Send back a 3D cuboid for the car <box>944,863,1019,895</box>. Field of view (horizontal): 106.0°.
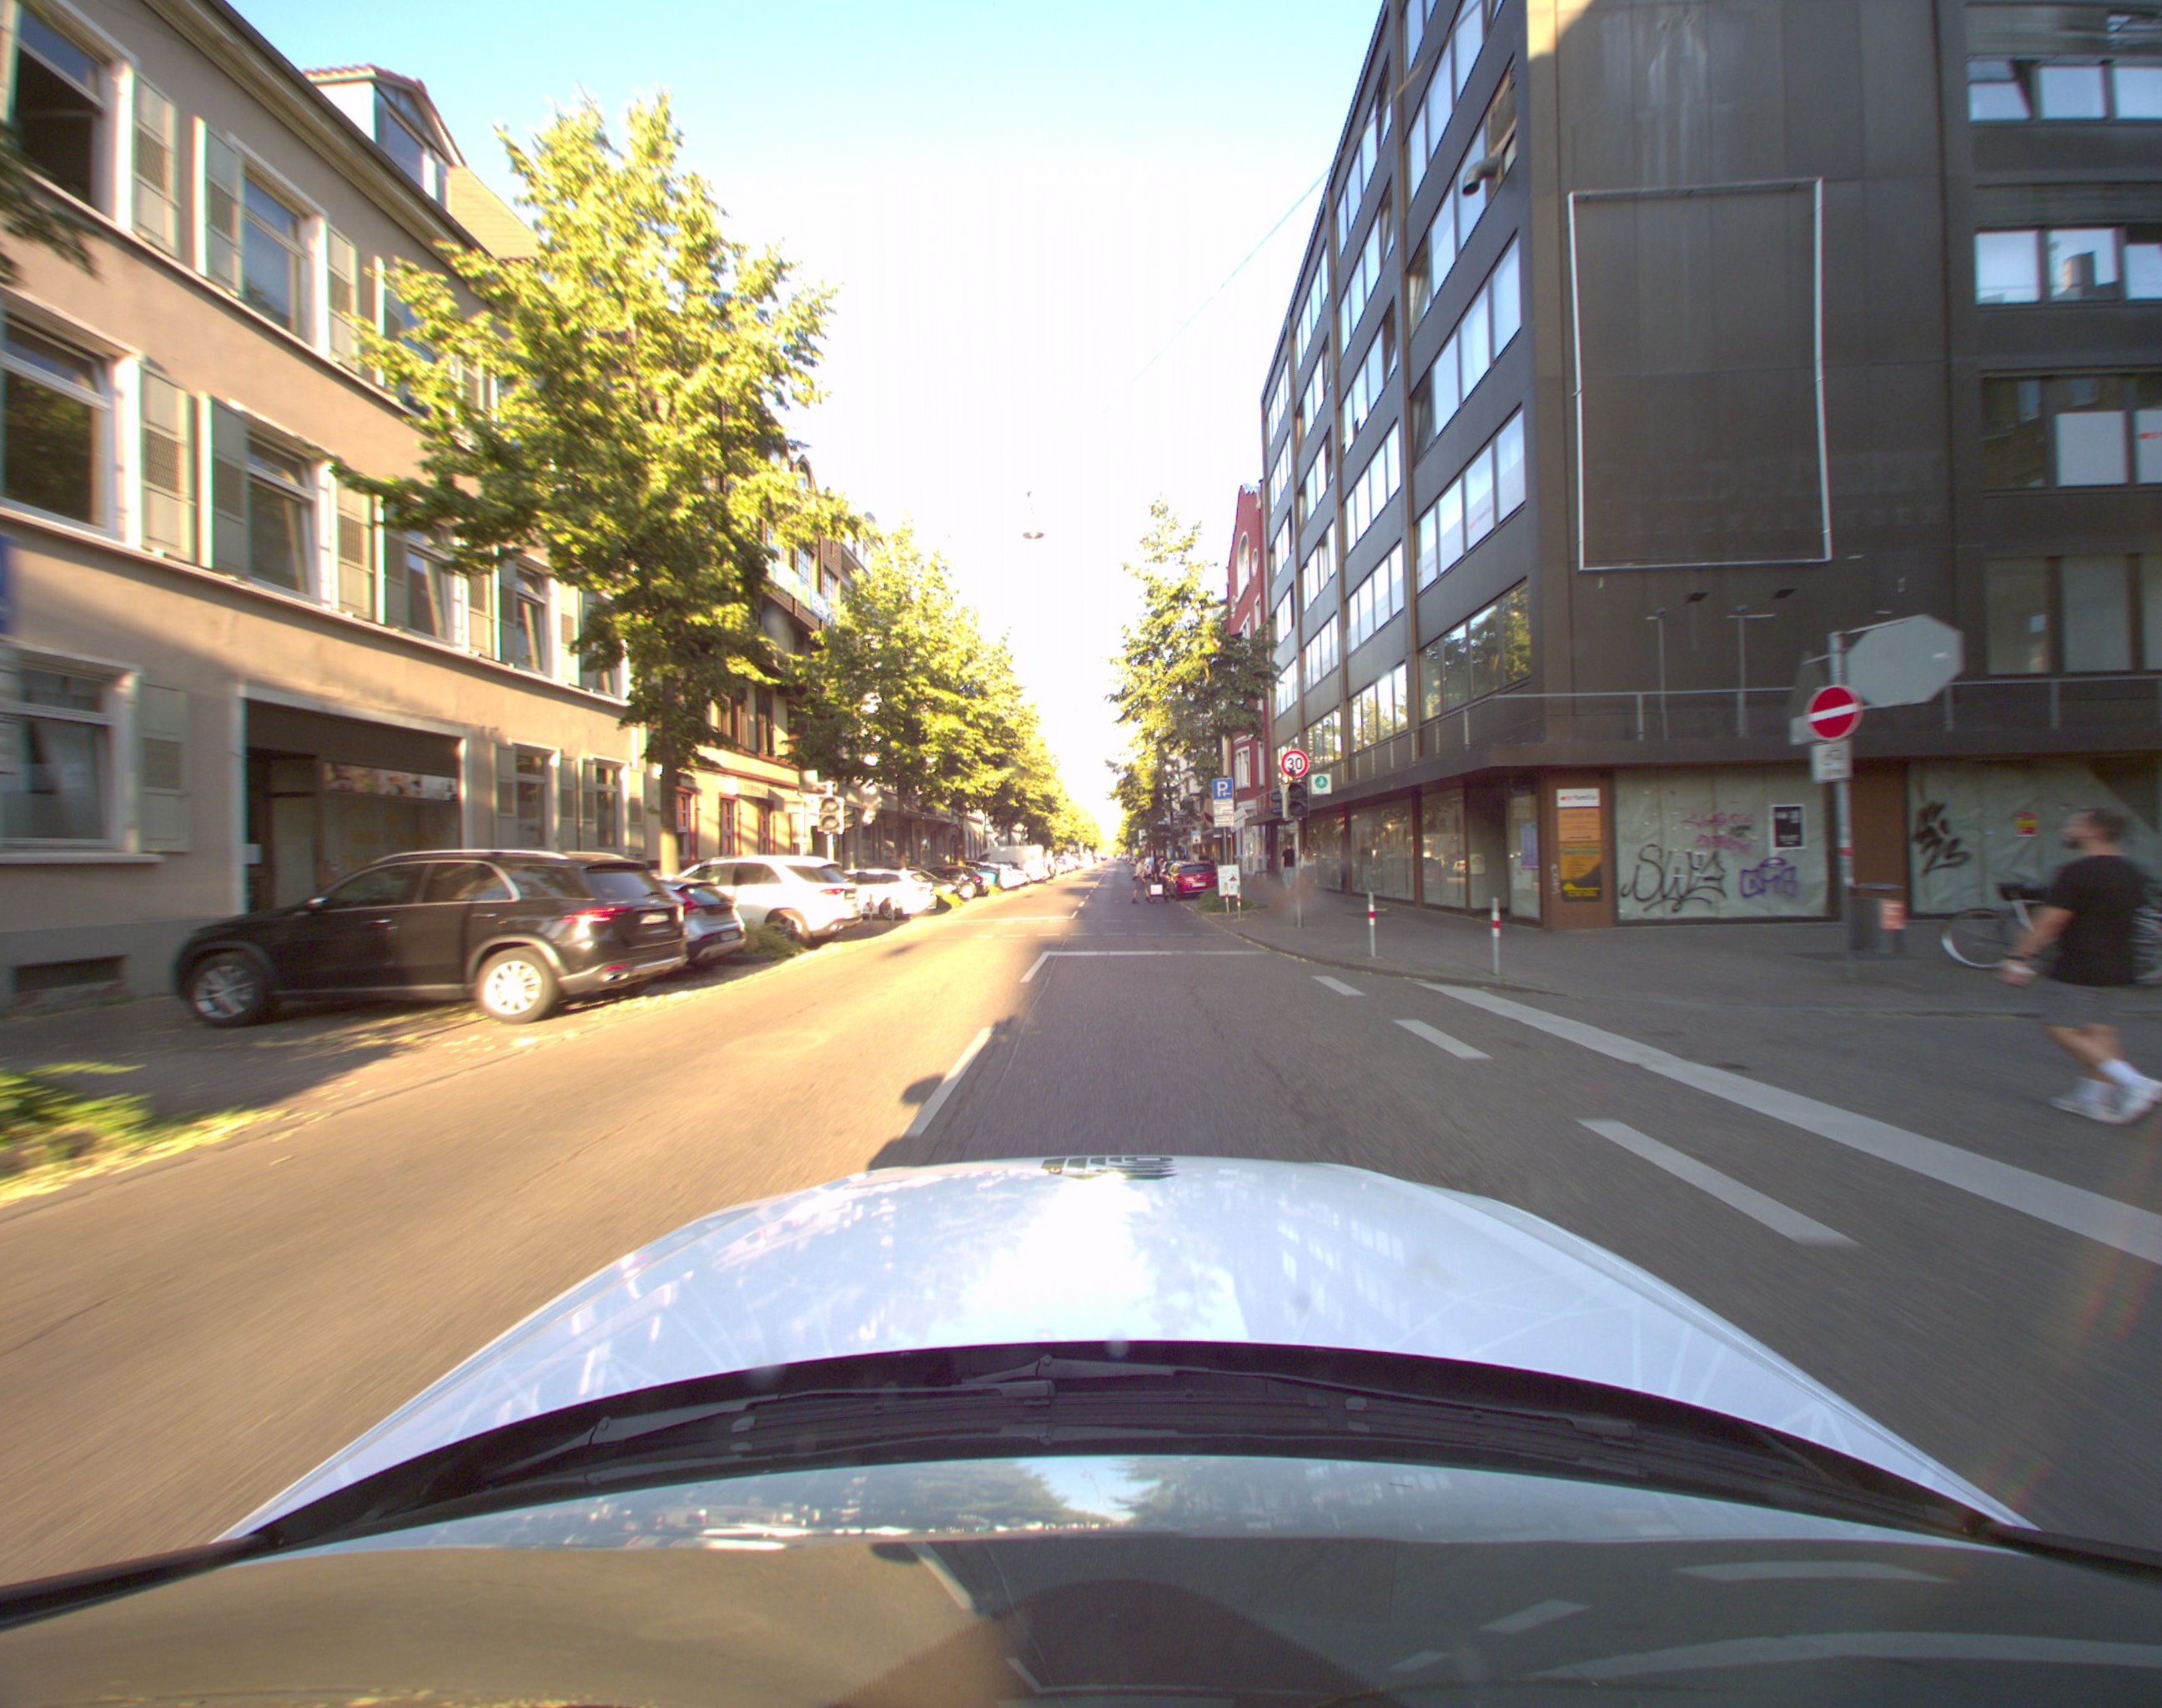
[{"bbox_3d":[-5.325,1.318,43.864,3.725,1.596,2.001,-1,-1,1],"label":"car"}]

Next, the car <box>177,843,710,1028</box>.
[{"bbox_3d":[-6.901,0.834,9.222,4.432,1.835,2.034,0,-1,1],"label":"car"}]

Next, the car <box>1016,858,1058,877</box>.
[{"bbox_3d":[-4.124,1.237,76.470,3.725,1.708,2.001,-1,-1,1],"label":"car"}]

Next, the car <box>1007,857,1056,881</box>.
[{"bbox_3d":[-4.011,1.211,65.932,3.725,1.859,2.001,-1,-1,1],"label":"car"}]

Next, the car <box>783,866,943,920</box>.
[{"bbox_3d":[-6.353,1.125,24.111,4.159,1.507,2.001,0,-1,1],"label":"car"}]

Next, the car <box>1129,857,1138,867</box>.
[{"bbox_3d":[8.875,1.382,137.003,1.305,1.600,2.660,-1,-1,0],"label":"car"}]

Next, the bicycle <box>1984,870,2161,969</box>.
[{"bbox_3d":[11.817,0.729,9.434,0.416,1.037,1.761,-3,1,-24],"label":"bicycle"}]

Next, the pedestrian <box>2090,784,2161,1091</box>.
[{"bbox_3d":[6.569,0.479,4.390,0.752,1.767,1.223,0,0,2],"label":"pedestrian"}]

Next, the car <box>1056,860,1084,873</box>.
[{"bbox_3d":[-1.485,1.754,112.109,3.725,1.708,2.001,0,0,1],"label":"car"}]

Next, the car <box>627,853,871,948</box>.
[{"bbox_3d":[-6.345,0.854,15.878,3.975,1.708,1.834,0,0,1],"label":"car"}]

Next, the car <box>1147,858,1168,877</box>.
[{"bbox_3d":[5.363,0.983,57.532,1.202,1.300,2.660,-1,-1,0],"label":"car"}]

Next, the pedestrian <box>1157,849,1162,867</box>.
[{"bbox_3d":[8.625,0.410,89.563,0.447,2.013,0.424,0,0,1],"label":"pedestrian"}]

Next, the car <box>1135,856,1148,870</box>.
[{"bbox_3d":[7.136,1.082,95.730,1.305,1.600,2.660,-1,-1,0],"label":"car"}]

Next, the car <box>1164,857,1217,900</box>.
[{"bbox_3d":[4.302,0.951,32.307,1.571,1.543,3.396,-3,-1,0],"label":"car"}]

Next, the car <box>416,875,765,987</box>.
[{"bbox_3d":[-7.040,1.078,12.000,4.017,1.443,1.832,0,0,1],"label":"car"}]

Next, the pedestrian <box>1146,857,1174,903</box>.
[{"bbox_3d":[2.951,0.955,30.601,0.727,1.683,0.749,-1,0,-38],"label":"pedestrian"}]

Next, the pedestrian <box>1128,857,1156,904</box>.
[{"bbox_3d":[2.243,0.963,29.784,0.720,1.673,0.702,-1,1,-38],"label":"pedestrian"}]

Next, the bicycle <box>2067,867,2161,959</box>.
[{"bbox_3d":[13.262,0.720,9.842,0.415,1.094,1.680,0,0,-18],"label":"bicycle"}]

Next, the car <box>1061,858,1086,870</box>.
[{"bbox_3d":[-1.092,1.485,121.989,3.725,1.708,2.001,0,0,1],"label":"car"}]

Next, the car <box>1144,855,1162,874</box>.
[{"bbox_3d":[6.339,0.919,71.666,1.305,1.600,2.660,-1,-1,0],"label":"car"}]

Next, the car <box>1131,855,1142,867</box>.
[{"bbox_3d":[7.820,0.967,114.109,1.305,1.600,2.660,-1,-1,0],"label":"car"}]

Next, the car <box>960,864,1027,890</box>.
[{"bbox_3d":[-5.229,1.389,49.058,3.725,1.450,2.001,-1,-1,1],"label":"car"}]

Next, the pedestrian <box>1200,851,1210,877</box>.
[{"bbox_3d":[7.895,0.637,51.840,0.531,1.622,0.534,0,0,3],"label":"pedestrian"}]

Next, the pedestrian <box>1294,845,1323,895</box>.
[{"bbox_3d":[8.010,0.553,28.694,0.762,1.689,0.786,-2,0,0],"label":"pedestrian"}]

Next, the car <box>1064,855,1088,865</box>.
[{"bbox_3d":[-0.745,0.959,130.661,3.725,1.708,2.001,0,0,1],"label":"car"}]

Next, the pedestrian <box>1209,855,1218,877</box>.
[{"bbox_3d":[8.516,0.760,52.308,0.531,1.360,0.534,0,0,3],"label":"pedestrian"}]

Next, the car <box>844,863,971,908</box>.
[{"bbox_3d":[-6.641,1.183,31.489,4.410,1.599,2.001,-1,-1,1],"label":"car"}]

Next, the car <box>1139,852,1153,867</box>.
[{"bbox_3d":[7.226,0.628,90.554,1.305,1.600,2.660,-1,-1,0],"label":"car"}]

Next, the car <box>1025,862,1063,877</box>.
[{"bbox_3d":[-3.796,1.590,83.535,3.725,1.450,2.001,-1,-1,1],"label":"car"}]

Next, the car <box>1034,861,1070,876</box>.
[{"bbox_3d":[-3.170,1.597,88.231,3.725,1.493,2.001,-1,-1,1],"label":"car"}]

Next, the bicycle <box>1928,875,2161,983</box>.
[{"bbox_3d":[10.652,0.780,9.068,0.415,1.030,1.681,-1,0,-15],"label":"bicycle"}]

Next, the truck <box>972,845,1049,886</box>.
[{"bbox_3d":[-4.763,0.794,55.459,4.922,2.615,2.001,-1,-1,1],"label":"truck"}]

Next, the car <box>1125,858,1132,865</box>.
[{"bbox_3d":[11.334,1.758,194.229,1.571,1.579,3.114,0,0,0],"label":"car"}]

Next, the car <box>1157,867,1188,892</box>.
[{"bbox_3d":[4.941,1.345,44.078,1.300,1.293,3.013,-1,-1,0],"label":"car"}]

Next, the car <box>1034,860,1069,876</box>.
[{"bbox_3d":[-3.315,1.531,92.558,3.725,1.708,2.001,-1,-1,1],"label":"car"}]

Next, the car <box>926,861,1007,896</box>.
[{"bbox_3d":[-5.741,1.216,41.274,3.725,1.642,2.001,-1,-1,1],"label":"car"}]

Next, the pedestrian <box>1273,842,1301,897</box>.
[{"bbox_3d":[7.249,0.537,28.720,0.712,1.865,0.680,-3,0,-1],"label":"pedestrian"}]

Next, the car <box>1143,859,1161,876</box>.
[{"bbox_3d":[5.587,1.081,64.407,1.202,1.300,2.660,-1,-1,0],"label":"car"}]

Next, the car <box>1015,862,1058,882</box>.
[{"bbox_3d":[-3.911,1.543,71.602,3.572,1.595,1.702,-1,1,1],"label":"car"}]

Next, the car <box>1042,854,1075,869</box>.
[{"bbox_3d":[-2.607,0.922,96.135,3.725,1.708,2.001,0,0,1],"label":"car"}]

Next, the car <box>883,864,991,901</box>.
[{"bbox_3d":[-6.374,1.259,36.461,4.410,1.503,2.001,-1,-1,1],"label":"car"}]

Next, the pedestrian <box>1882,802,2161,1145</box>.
[{"bbox_3d":[5.436,0.566,4.522,0.752,1.640,1.259,0,0,2],"label":"pedestrian"}]

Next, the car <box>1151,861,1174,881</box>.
[{"bbox_3d":[5.399,1.113,54.153,1.202,1.300,2.660,-1,-1,0],"label":"car"}]
